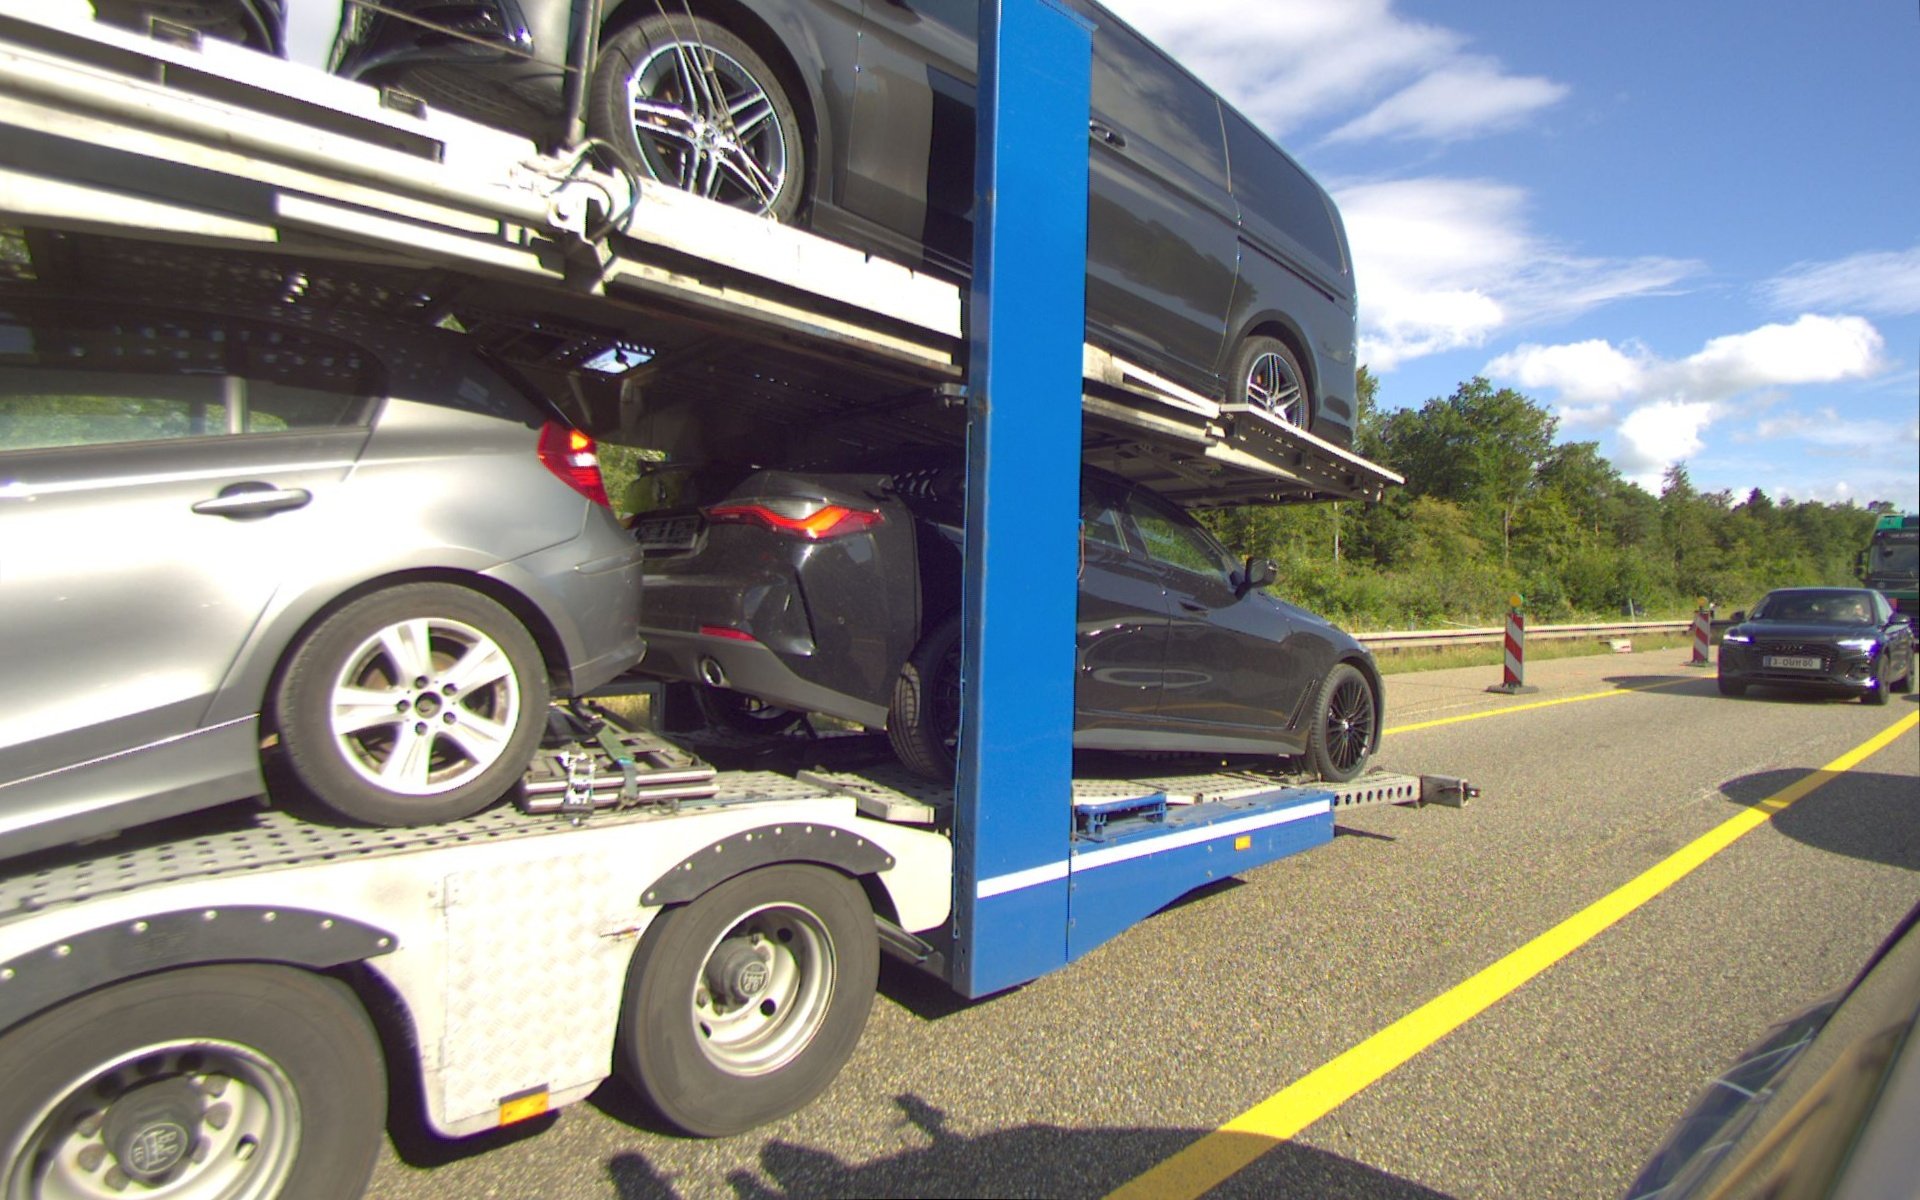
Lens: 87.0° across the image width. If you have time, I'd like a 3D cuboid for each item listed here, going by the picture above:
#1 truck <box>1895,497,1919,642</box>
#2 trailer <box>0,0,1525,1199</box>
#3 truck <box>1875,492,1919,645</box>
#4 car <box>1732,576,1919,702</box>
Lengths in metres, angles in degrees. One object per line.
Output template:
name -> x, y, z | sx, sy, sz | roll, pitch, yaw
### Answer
truck -> 33.568, -0.979, 33.316 | 13.961, 4.196, 2.469 | -1, 0, -41
trailer -> -3.911, -0.790, 2.131 | 15.944, 4.249, 3.732 | -1, 0, -41
truck -> 28.833, -0.897, 29.316 | 6.735, 4.151, 2.526 | -1, 0, -40
car -> 13.139, 0.477, 15.079 | 4.219, 1.622, 1.781 | -1, 0, -41
